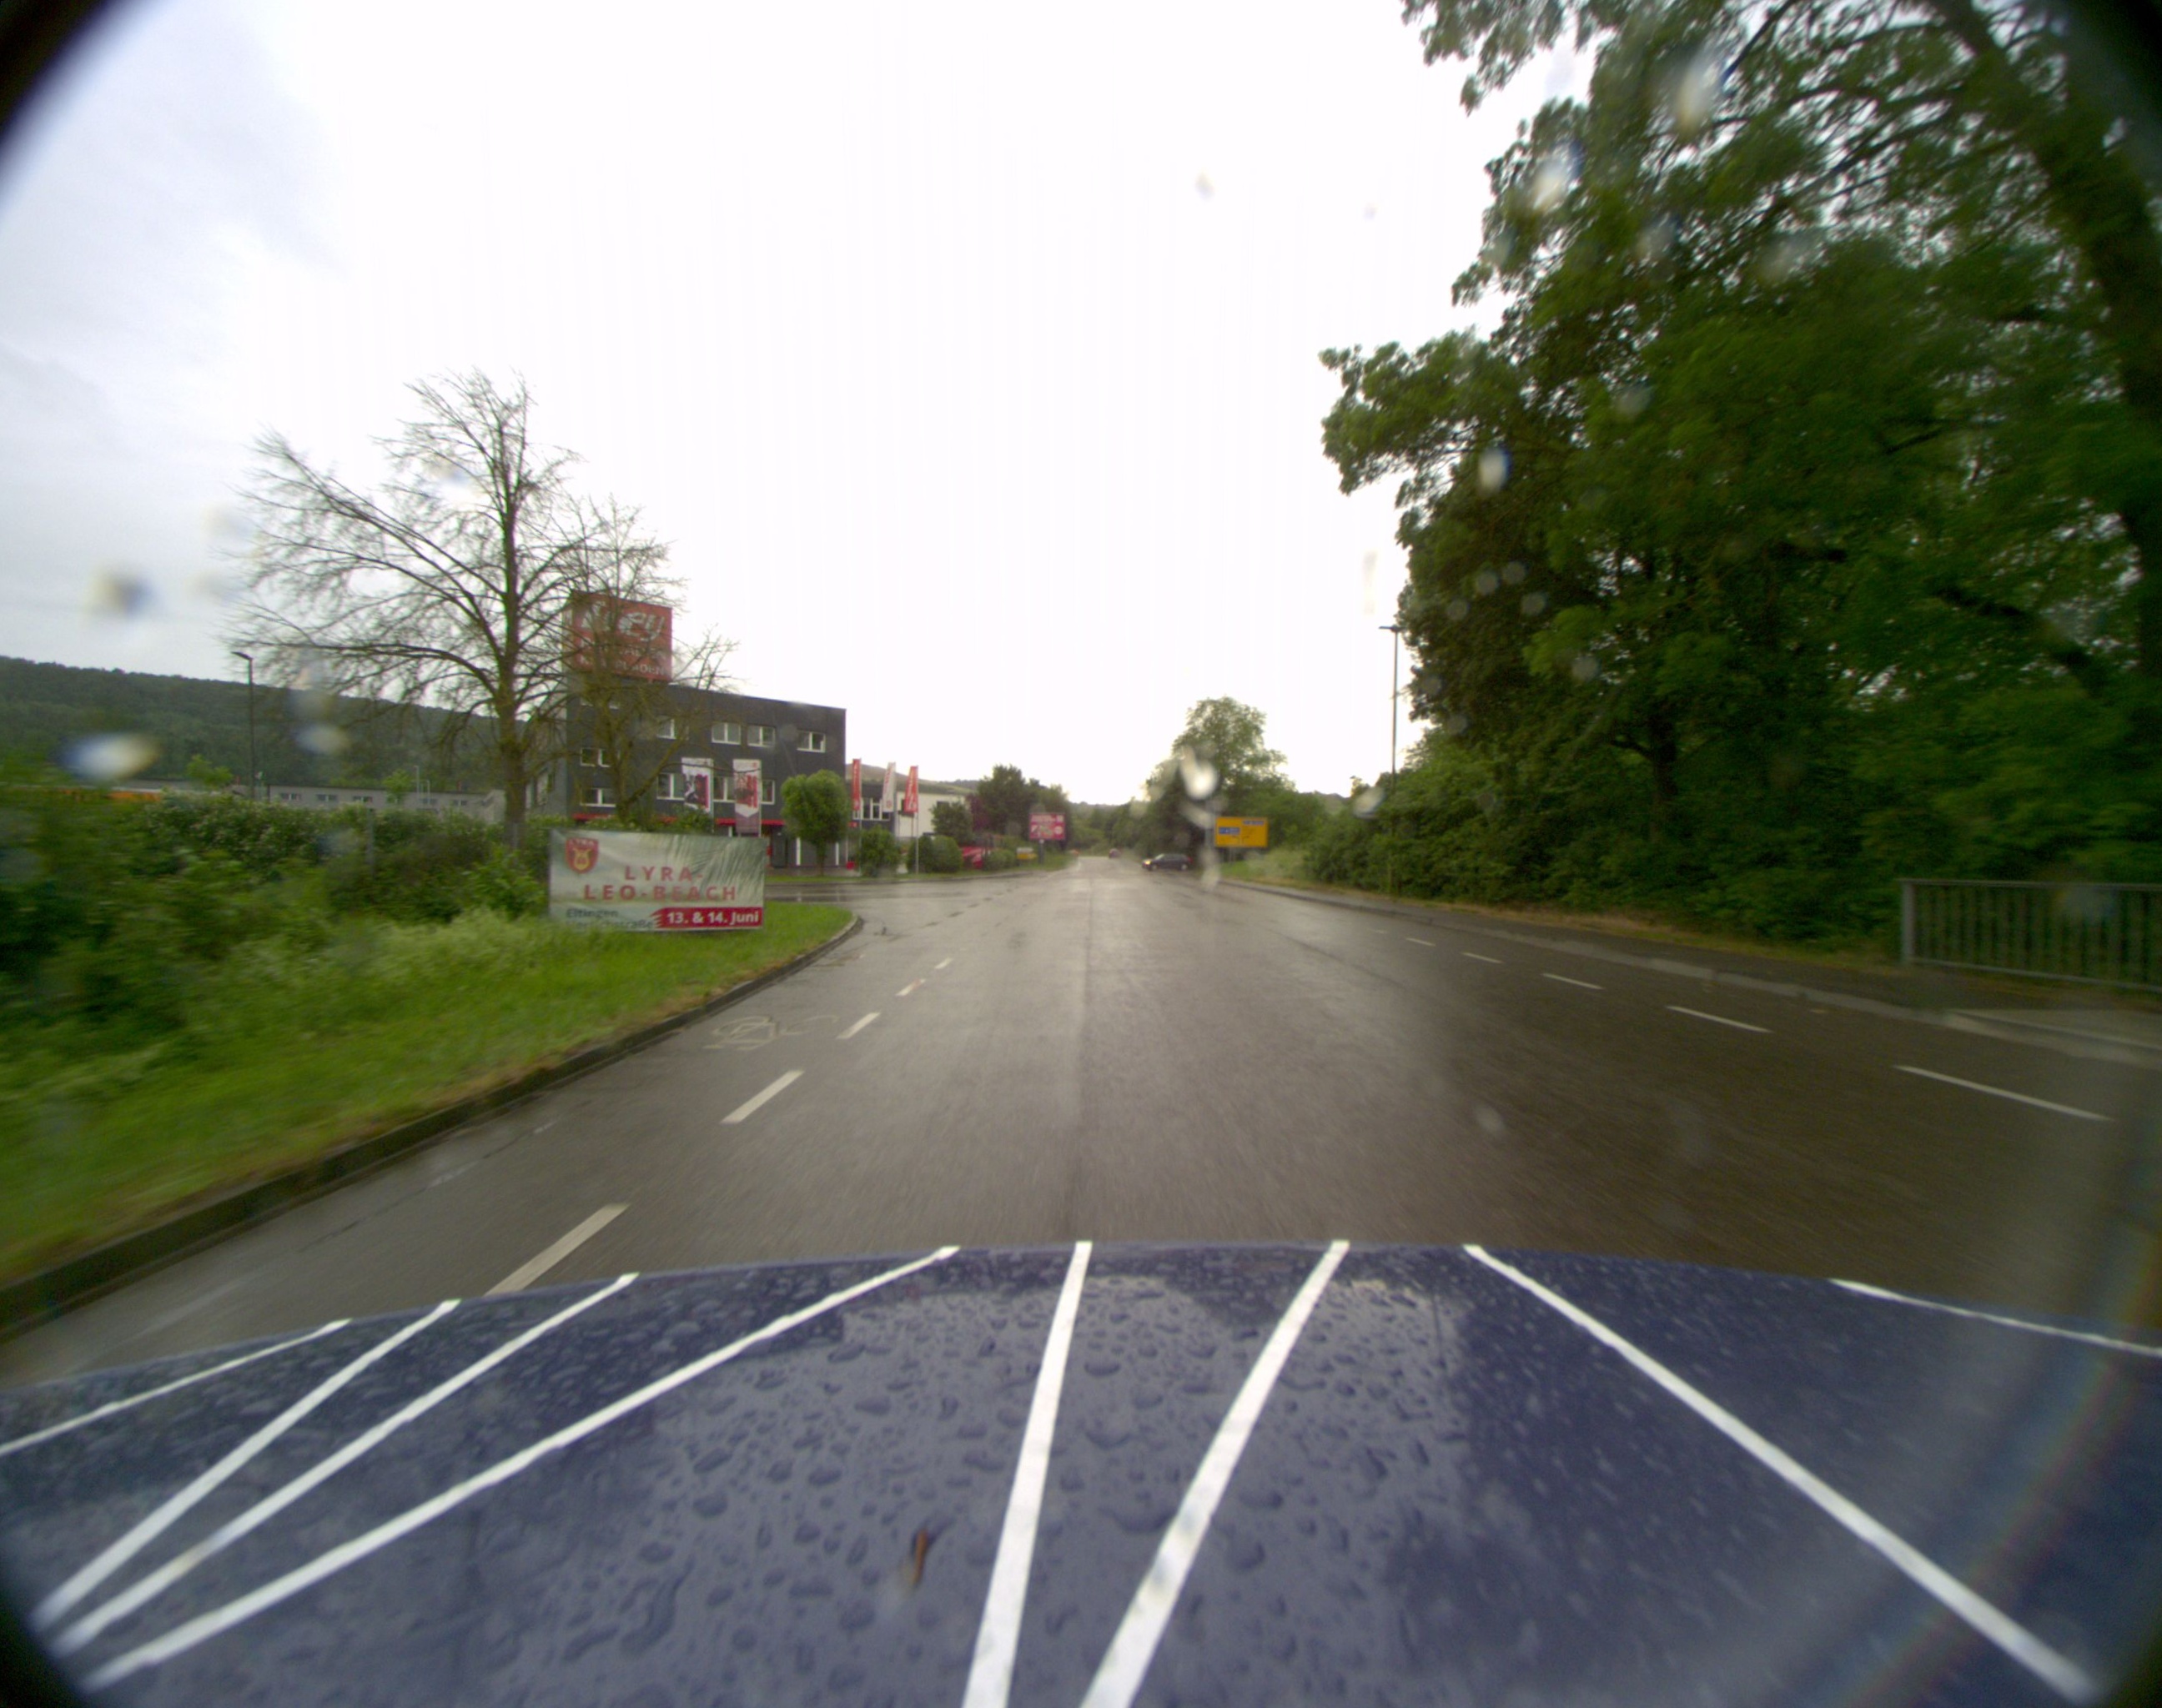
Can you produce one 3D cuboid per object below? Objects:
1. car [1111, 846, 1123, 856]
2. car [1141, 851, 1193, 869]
[{"bbox_3d":[5.688,-0.495,120.638,1.833,1.515,4.001,0,1,3],"label":"car"},{"bbox_3d":[7.294,0.505,64.882,4.120,1.481,1.855,0,1,-7],"label":"car"}]
